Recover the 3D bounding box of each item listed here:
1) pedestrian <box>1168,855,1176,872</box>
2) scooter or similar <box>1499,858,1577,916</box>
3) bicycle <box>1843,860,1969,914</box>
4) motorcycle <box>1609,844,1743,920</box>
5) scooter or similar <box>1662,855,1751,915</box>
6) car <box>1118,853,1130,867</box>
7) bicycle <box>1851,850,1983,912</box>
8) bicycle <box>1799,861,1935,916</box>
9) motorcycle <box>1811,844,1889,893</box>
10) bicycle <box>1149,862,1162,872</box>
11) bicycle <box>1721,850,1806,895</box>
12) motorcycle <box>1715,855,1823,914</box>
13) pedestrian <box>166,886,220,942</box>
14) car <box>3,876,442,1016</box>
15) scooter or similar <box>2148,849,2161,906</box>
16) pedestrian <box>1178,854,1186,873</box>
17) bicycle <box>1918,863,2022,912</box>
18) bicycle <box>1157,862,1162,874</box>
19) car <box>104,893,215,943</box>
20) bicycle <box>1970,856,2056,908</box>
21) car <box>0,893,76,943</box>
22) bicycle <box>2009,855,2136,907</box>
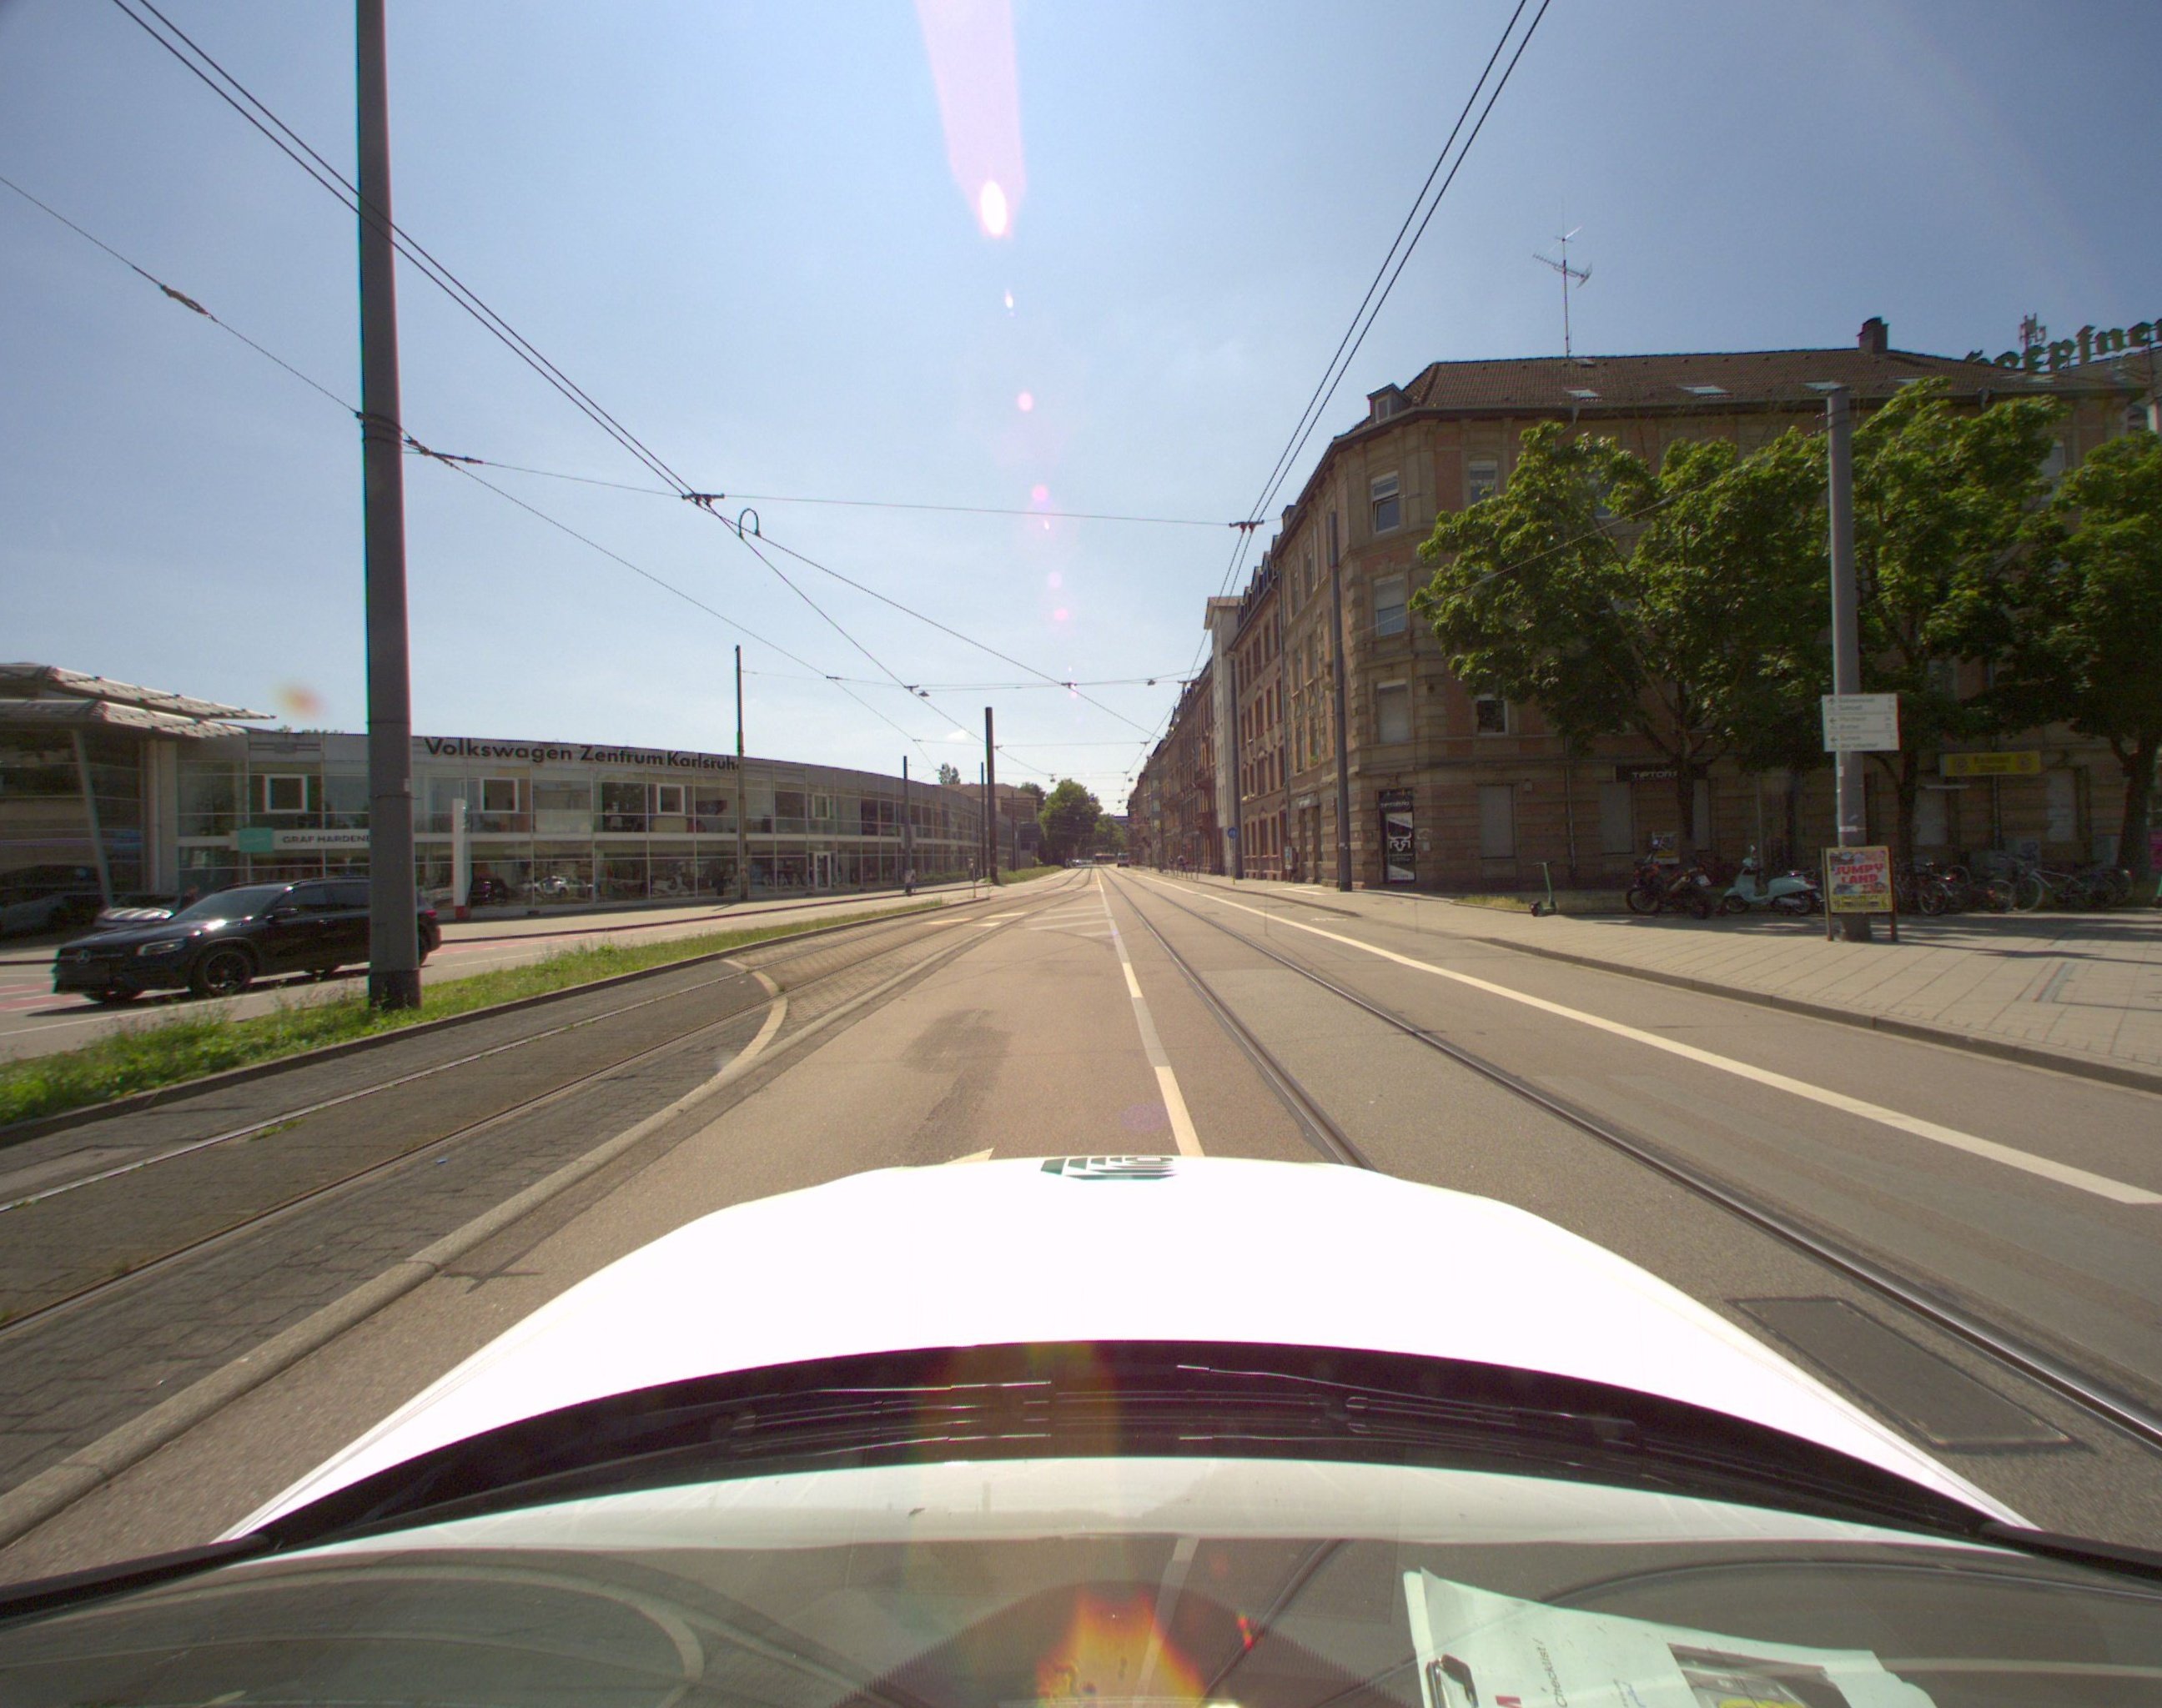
[{"bbox_3d":[9.089,0.950,81.067,0.717,1.720,0.644,-2,-1,2],"label":"pedestrian"},{"bbox_3d":[9.783,0.687,17.440,1.529,1.155,0.709,-1,-1,-28],"label":"scooter or similar"},{"bbox_3d":[15.922,0.613,15.796,0.642,0.965,1.840,-2,0,4],"label":"bicycle"},{"bbox_3d":[11.609,0.529,16.042,0.761,1.362,2.596,-2,-1,2],"label":"motorcycle"},{"bbox_3d":[12.677,0.630,16.552,0.600,1.152,1.375,-2,-2,-9],"label":"scooter or similar"},{"bbox_3d":[7.715,1.072,145.641,2.059,2.501,5.456,-1,-1,2],"label":"car"},{"bbox_3d":[16.586,0.509,16.229,0.644,1.146,1.836,-2,0,-3],"label":"bicycle"},{"bbox_3d":[15.218,0.639,15.858,0.643,0.965,2.083,-2,0,2],"label":"bicycle"},{"bbox_3d":[21.226,0.407,22.483,1.635,1.290,0.502,-2,-1,0],"label":"motorcycle"},{"bbox_3d":[8.329,1.448,91.188,0.494,1.130,2.257,-3,-1,29],"label":"bicycle"},{"bbox_3d":[19.244,0.519,22.976,1.873,1.178,0.713,-2,-1,-6],"label":"bicycle"},{"bbox_3d":[13.766,0.597,16.357,0.688,1.096,1.748,-2,-1,2],"label":"motorcycle"},{"bbox_3d":[-27.605,1.854,25.325,0.724,1.642,0.821,-2,-1,4],"label":"pedestrian"},{"bbox_3d":[-12.796,1.244,12.699,1.814,1.626,4.530,-3,-1,4],"label":"car"},{"bbox_3d":[22.149,0.469,16.681,0.991,1.125,0.265,-1,-1,-34],"label":"scooter or similar"},{"bbox_3d":[10.032,0.911,80.906,0.700,1.849,0.644,-3,-1,2],"label":"pedestrian"},{"bbox_3d":[17.711,0.646,16.260,0.454,0.905,1.427,-2,0,-3],"label":"bicycle"},{"bbox_3d":[8.116,1.432,83.734,0.445,1.097,2.427,-2,-1,6],"label":"bicycle"},{"bbox_3d":[-31.107,2.110,27.609,1.508,1.457,4.012,-1,-1,-34],"label":"car"},{"bbox_3d":[18.856,0.556,16.509,0.452,0.992,1.436,-2,-1,18],"label":"bicycle"},{"bbox_3d":[-33.549,1.997,24.997,1.614,1.420,4.155,-2,-1,-23],"label":"car"},{"bbox_3d":[20.084,0.533,16.545,0.503,0.992,1.562,-2,-1,-13],"label":"bicycle"}]
